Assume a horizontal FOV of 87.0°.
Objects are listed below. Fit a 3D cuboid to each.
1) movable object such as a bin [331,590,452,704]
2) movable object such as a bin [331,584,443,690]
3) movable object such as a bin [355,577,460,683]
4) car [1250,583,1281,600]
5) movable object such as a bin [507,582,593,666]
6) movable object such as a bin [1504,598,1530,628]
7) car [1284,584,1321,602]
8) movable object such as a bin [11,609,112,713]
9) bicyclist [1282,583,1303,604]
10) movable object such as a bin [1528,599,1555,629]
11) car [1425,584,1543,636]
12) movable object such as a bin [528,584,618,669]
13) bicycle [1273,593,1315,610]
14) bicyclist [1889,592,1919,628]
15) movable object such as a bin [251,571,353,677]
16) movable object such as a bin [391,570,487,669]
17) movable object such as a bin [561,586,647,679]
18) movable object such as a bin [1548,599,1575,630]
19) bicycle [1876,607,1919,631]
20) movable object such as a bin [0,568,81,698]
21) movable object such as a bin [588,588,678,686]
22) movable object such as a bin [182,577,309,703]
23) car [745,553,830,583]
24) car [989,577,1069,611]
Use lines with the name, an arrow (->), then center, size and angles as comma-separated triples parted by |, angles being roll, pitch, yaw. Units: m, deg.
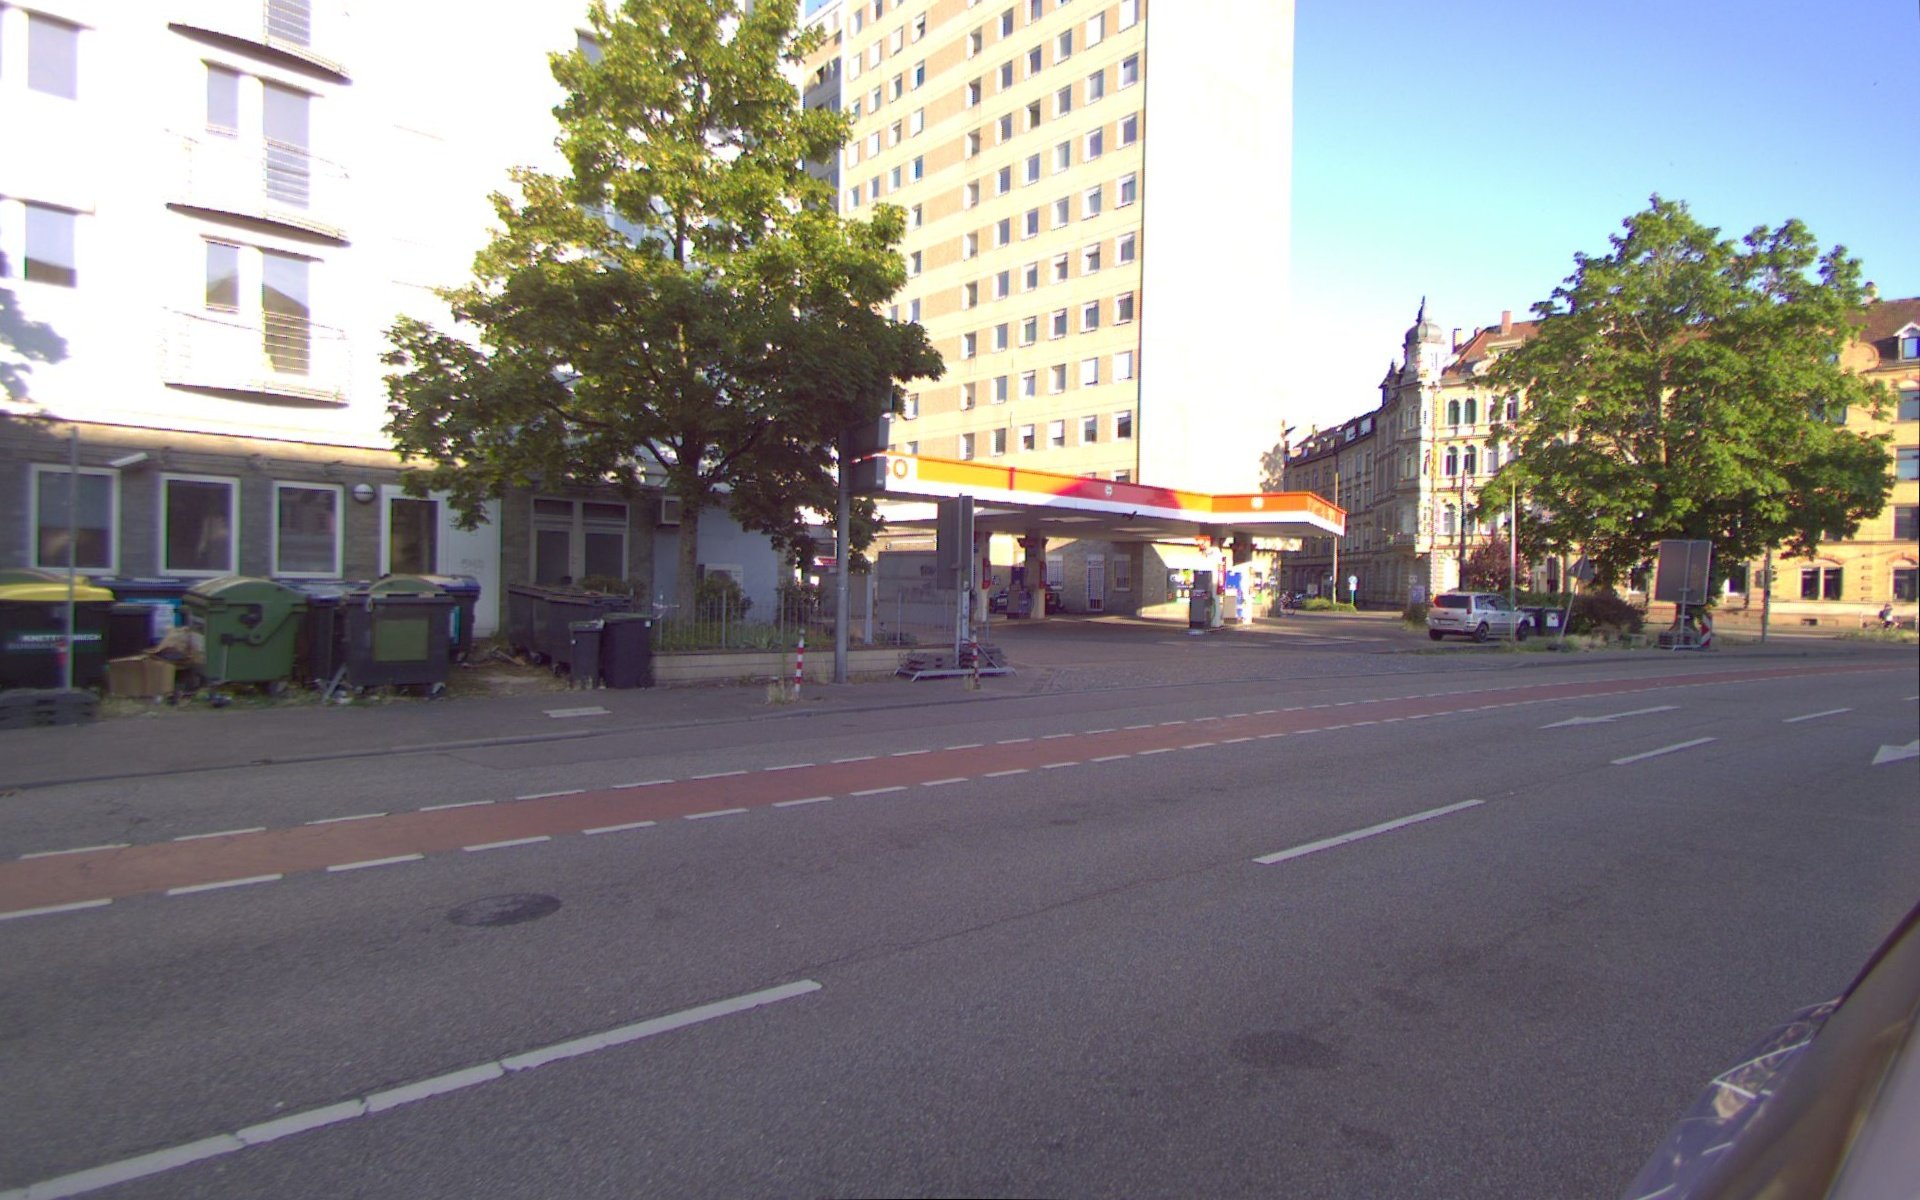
movable object such as a bin -> -7.206, 0.555, 12.830 | 1.142, 1.345, 0.954 | 0, 1, -43
movable object such as a bin -> -7.789, 0.467, 13.761 | 1.142, 1.345, 0.954 | 0, 1, -43
movable object such as a bin -> -8.130, 0.406, 14.896 | 1.142, 1.467, 1.033 | 0, 1, -43
car -> 32.276, -0.903, 107.102 | 1.962, 1.708, 4.001 | 1, 1, -1
movable object such as a bin -> -6.896, 0.373, 17.029 | 1.079, 1.345, 0.954 | 0, 1, -43
movable object such as a bin -> 19.623, 0.461, 35.639 | 0.674, 1.031, 0.544 | 0, 1, -35
car -> 31.217, -0.665, 92.330 | 1.963, 1.552, 3.999 | 1, 1, 1
movable object such as a bin -> -9.949, 0.649, 11.204 | 0.806, 1.058, 0.851 | 0, 1, -44
bicyclist -> 22.692, -0.427, 69.035 | 1.066, 1.382, 0.841 | -1, -1, 45
movable object such as a bin -> 20.131, 0.484, 35.035 | 0.674, 1.031, 0.544 | 0, 1, -35
car -> 16.670, 0.280, 32.162 | 3.722, 1.536, 1.691 | 0, 1, -33
movable object such as a bin -> -6.228, 0.401, 16.289 | 1.079, 1.299, 0.954 | 0, 1, -43
bicycle -> 22.747, 0.115, 68.927 | 2.614, 1.083, 0.772 | -1, 0, 45
bicyclist -> 44.907, 0.459, 48.110 | 1.062, 1.670, 0.721 | 2, 1, 43
movable object such as a bin -> -9.989, 0.332, 15.357 | 1.142, 1.517, 1.033 | 0, 1, -43
movable object such as a bin -> -8.371, 0.283, 16.264 | 1.142, 1.517, 1.033 | 0, 1, -43
movable object such as a bin -> -5.464, 0.469, 15.538 | 0.938, 1.345, 0.954 | 0, 1, -43
movable object such as a bin -> 20.412, 0.497, 34.318 | 0.674, 1.031, 0.544 | 0, 1, -35
bicycle -> 44.792, 0.921, 48.061 | 1.921, 1.072, 0.444 | 2, 1, 43
movable object such as a bin -> -11.321, 0.363, 12.159 | 1.088, 1.479, 1.348 | 0, 1, -44
movable object such as a bin -> -4.791, 0.512, 14.823 | 0.938, 1.345, 0.954 | 0, 1, -43
movable object such as a bin -> -8.859, 0.447, 12.534 | 1.088, 1.441, 1.348 | 0, 1, -44
car -> -8.991, -1.637, 52.784 | 3.928, 1.482, 1.998 | 0, 1, -39
car -> 3.317, -0.327, 49.367 | 1.739, 1.536, 3.790 | 0, 1, -41
